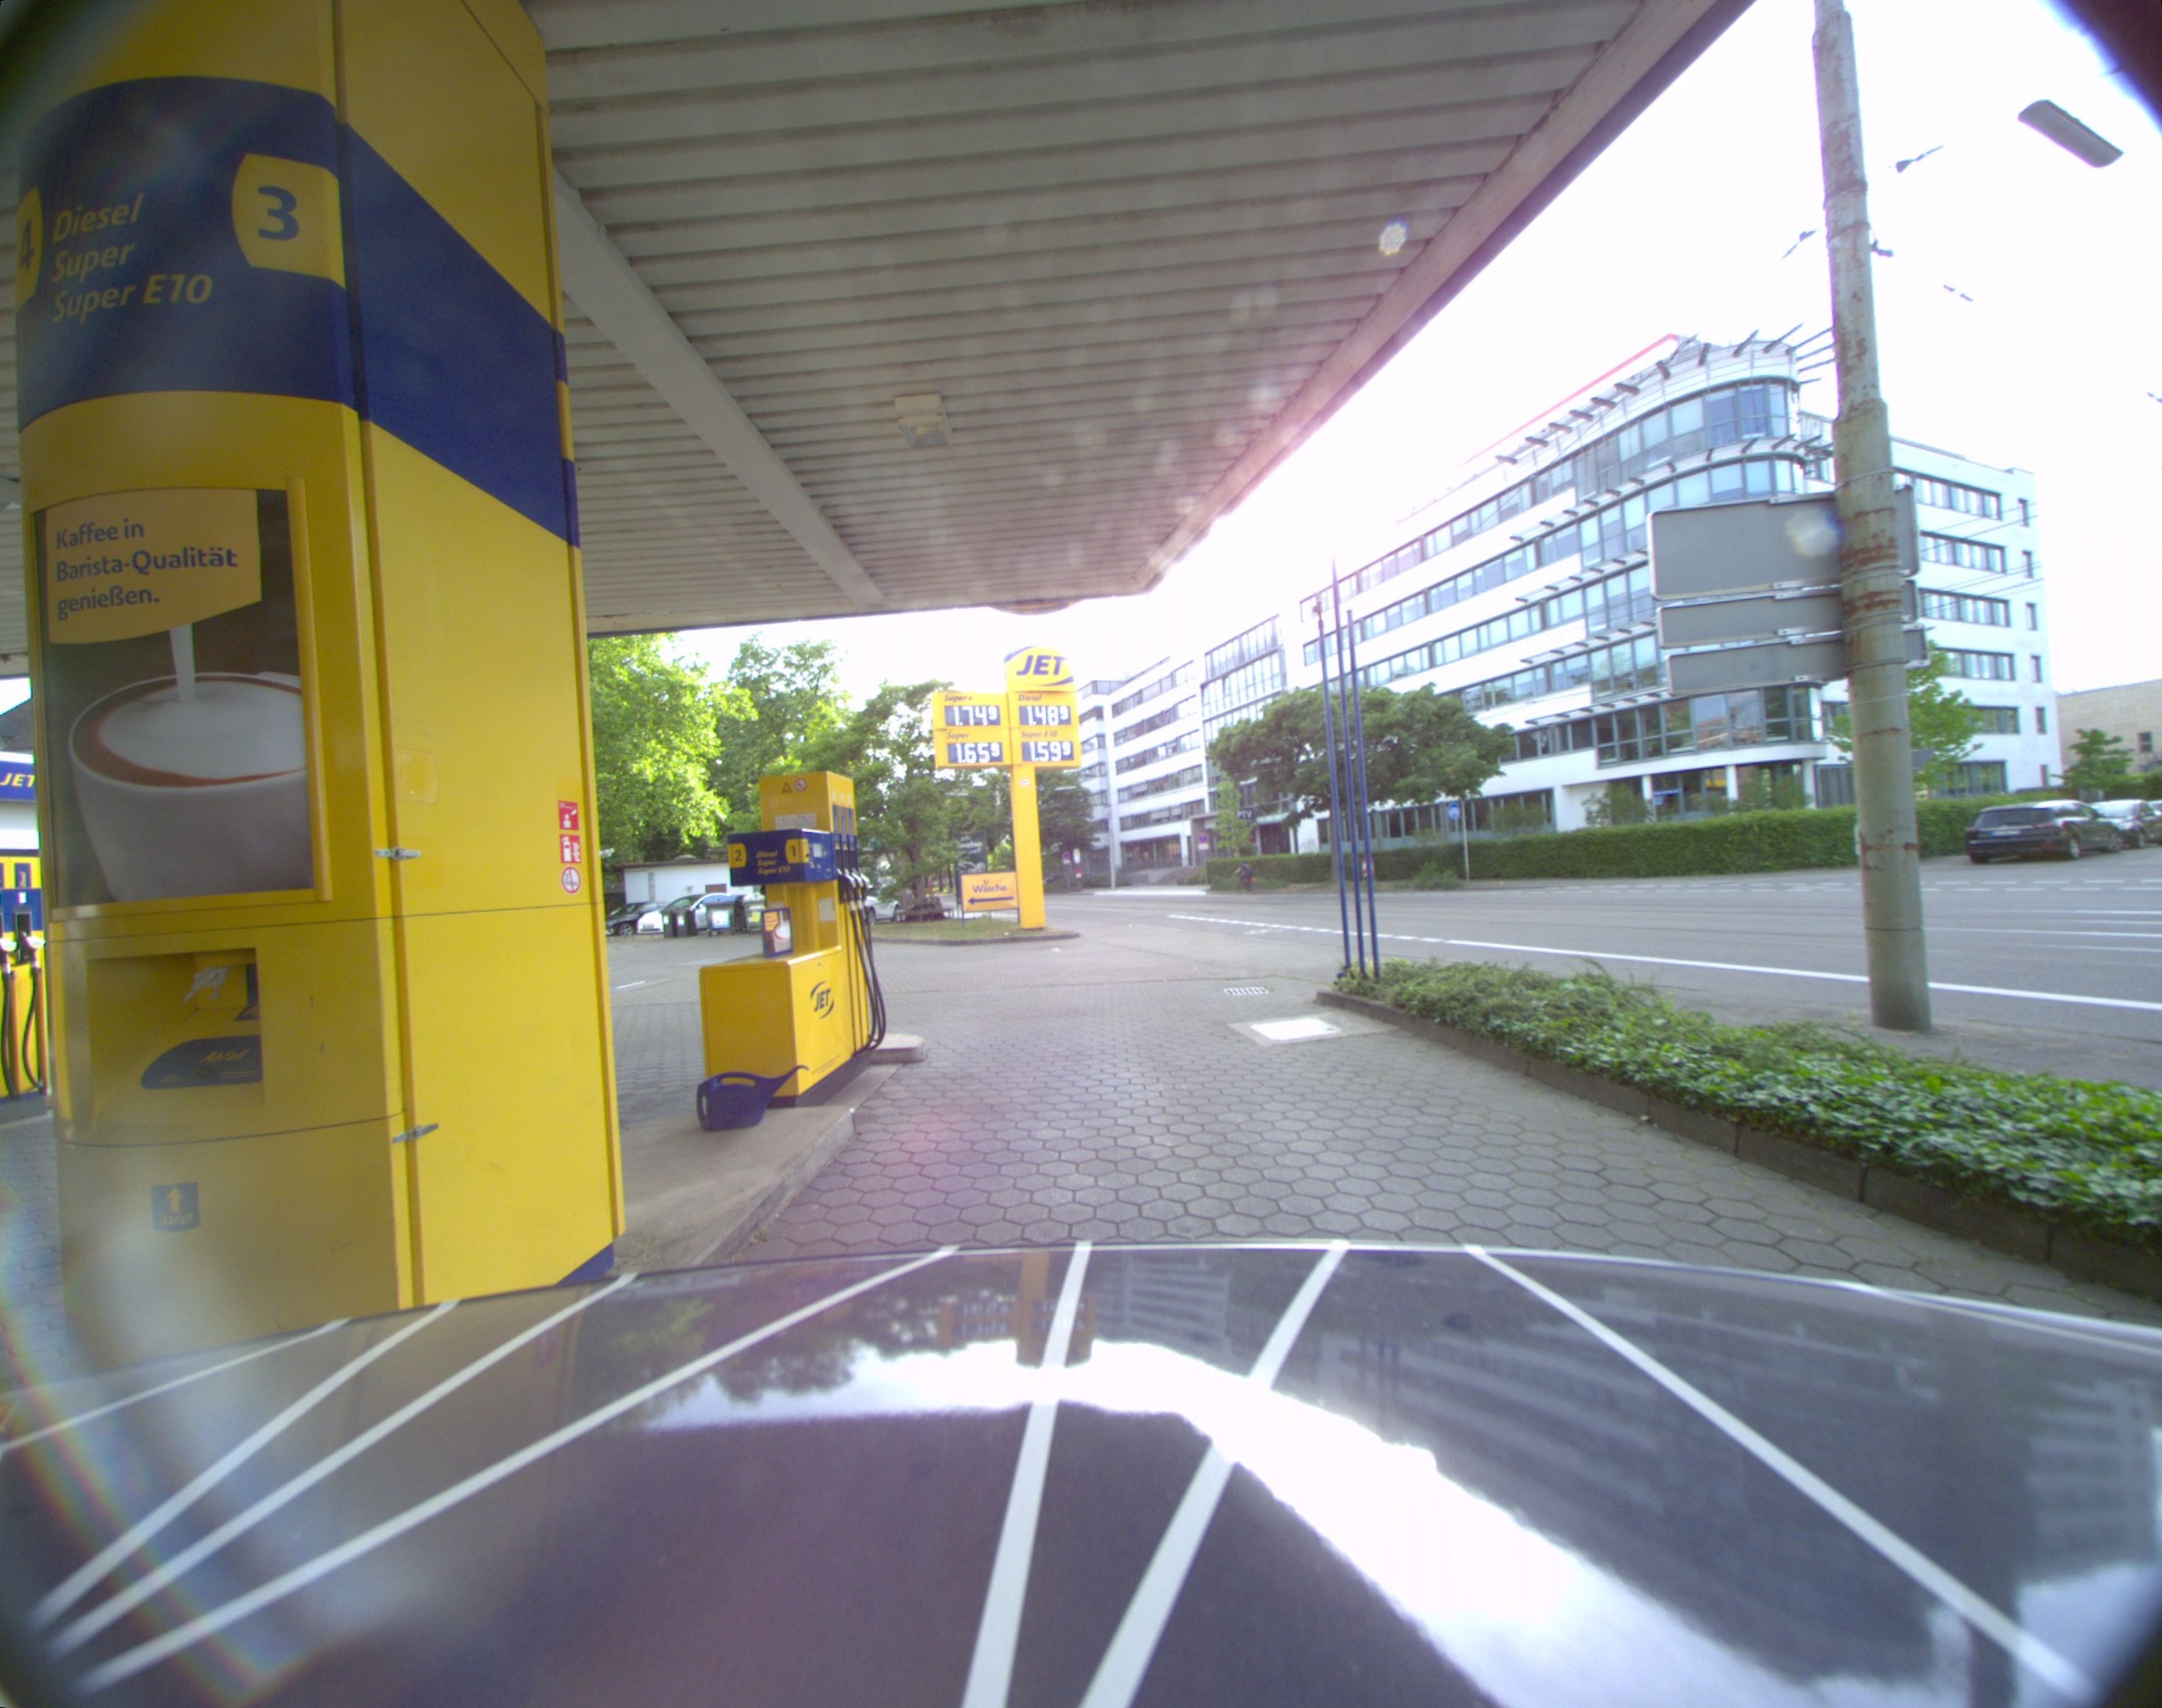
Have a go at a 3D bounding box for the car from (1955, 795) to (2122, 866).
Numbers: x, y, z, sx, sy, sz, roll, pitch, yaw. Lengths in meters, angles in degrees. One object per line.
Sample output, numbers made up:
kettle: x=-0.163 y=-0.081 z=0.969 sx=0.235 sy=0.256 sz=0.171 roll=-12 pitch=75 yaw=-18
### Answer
car: x=27.423 y=-0.669 z=21.757 sx=4.397 sy=1.678 sz=1.820 roll=-4 pitch=-1 yaw=-24

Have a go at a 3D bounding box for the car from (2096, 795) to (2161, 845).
car: x=37.109 y=-1.253 z=26.016 sx=4.201 sy=1.568 sz=1.820 roll=-4 pitch=-1 yaw=-24

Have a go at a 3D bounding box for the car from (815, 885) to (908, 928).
car: x=-8.652 y=2.044 z=30.376 sx=1.823 sy=1.449 sz=4.200 roll=-4 pitch=-2 yaw=10

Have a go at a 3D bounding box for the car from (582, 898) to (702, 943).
car: x=-17.530 y=2.627 z=30.606 sx=1.823 sy=1.426 sz=4.200 roll=-4 pitch=-2 yaw=10

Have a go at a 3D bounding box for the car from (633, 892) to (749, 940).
car: x=-15.385 y=2.408 z=30.251 sx=1.823 sy=1.575 sz=4.200 roll=-4 pitch=-2 yaw=10

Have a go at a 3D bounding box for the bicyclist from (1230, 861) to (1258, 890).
bicyclist: x=8.240 y=1.079 z=38.473 sx=0.792 sy=1.443 sz=1.173 roll=-3 pitch=1 yaw=-29

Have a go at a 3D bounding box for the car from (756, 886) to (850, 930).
car: x=-11.742 y=2.261 z=32.463 sx=1.823 sy=1.575 sz=4.200 roll=-4 pitch=-2 yaw=10

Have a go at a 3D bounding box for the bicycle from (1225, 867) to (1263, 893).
bicycle: x=8.234 y=1.295 z=38.514 sx=0.792 sy=1.232 sz=1.878 roll=-3 pitch=1 yaw=-29

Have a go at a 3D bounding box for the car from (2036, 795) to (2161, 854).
car: x=32.581 y=-0.958 z=24.067 sx=4.201 sy=1.568 sz=1.820 roll=-4 pitch=-1 yaw=-24
